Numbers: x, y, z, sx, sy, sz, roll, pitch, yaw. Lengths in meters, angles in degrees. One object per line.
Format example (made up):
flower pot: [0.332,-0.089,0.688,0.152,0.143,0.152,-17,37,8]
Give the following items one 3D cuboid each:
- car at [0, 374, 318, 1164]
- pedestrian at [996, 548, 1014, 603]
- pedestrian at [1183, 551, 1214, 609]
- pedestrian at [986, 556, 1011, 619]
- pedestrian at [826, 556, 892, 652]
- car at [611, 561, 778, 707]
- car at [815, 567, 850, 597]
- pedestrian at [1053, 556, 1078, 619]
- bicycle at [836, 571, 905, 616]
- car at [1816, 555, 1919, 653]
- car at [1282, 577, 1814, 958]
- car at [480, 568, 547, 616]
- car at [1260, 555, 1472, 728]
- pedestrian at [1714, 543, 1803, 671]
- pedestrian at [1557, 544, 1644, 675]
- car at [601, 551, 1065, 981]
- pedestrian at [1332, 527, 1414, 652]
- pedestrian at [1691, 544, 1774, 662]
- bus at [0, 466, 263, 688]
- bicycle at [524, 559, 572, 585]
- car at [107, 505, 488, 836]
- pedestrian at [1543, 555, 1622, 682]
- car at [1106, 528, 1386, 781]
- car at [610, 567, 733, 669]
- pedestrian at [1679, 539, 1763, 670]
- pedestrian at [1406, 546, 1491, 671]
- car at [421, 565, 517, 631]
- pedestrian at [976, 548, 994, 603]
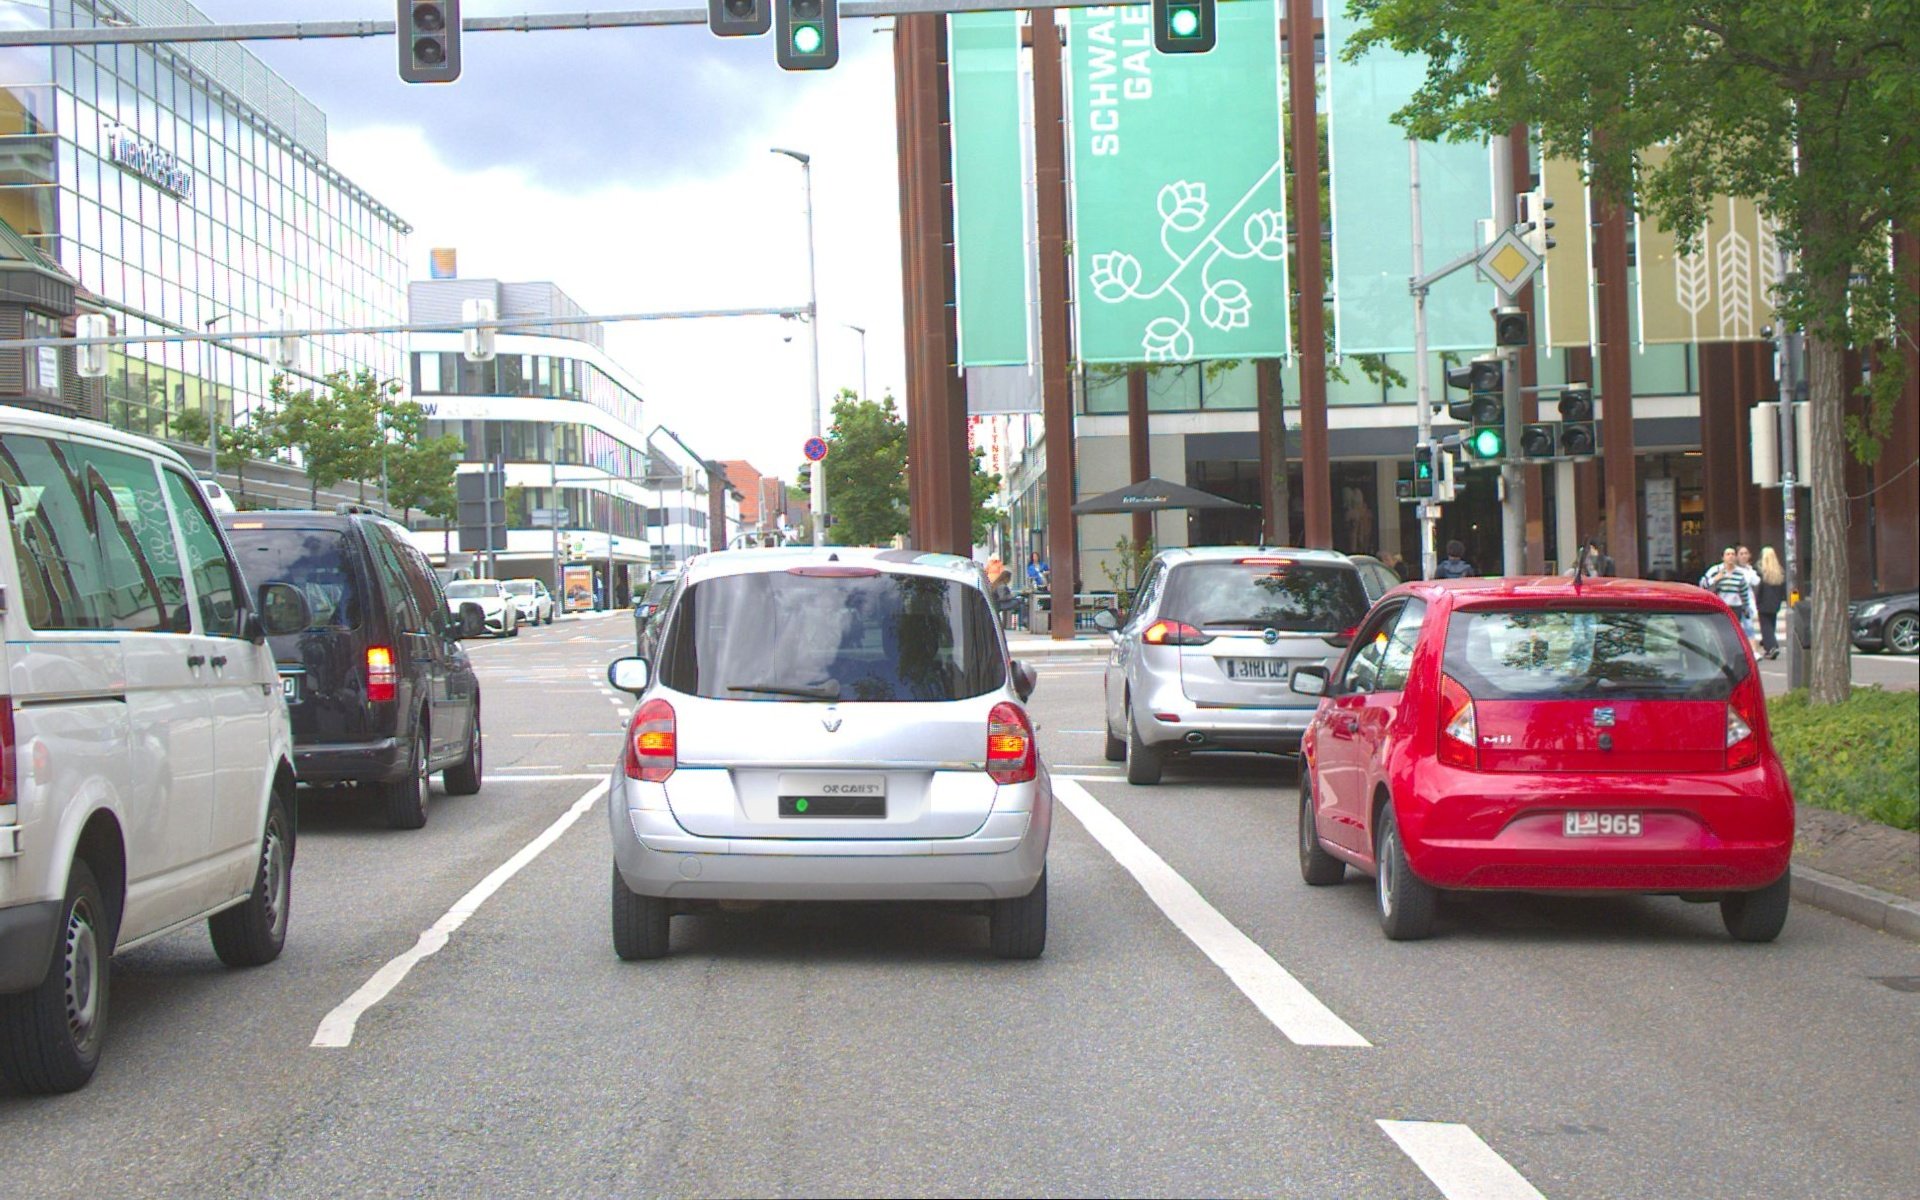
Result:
car: [-3.474,0.402,11.123,1.993,2.007,4.840,0,1,-1]
pedestrian: [1.263,-0.690,96.740,0.427,1.544,0.481,-2,1,-3]
pedestrian: [5.071,-0.427,73.070,0.515,1.204,0.796,-2,2,-3]
pedestrian: [0.760,-0.247,67.851,0.447,1.216,0.606,-2,1,1]
pedestrian: [-1.761,0.064,59.807,0.871,1.641,0.679,-1,1,33]
car: [-2.941,0.346,38.650,1.669,1.549,3.642,0,1,-1]
car: [-6.656,-0.929,179.771,1.660,1.460,4.000,-3,1,-1]
pedestrian: [2.088,-0.246,67.800,0.447,1.216,0.606,-2,1,3]
bicycle: [-2.103,-0.159,81.275,1.560,0.989,0.752,-2,1,2]
car: [14.996,0.025,50.823,4.172,1.399,1.801,-1,1,-4]
car: [2.441,0.637,15.099,1.626,1.443,3.642,0,1,-1]
car: [-14.510,-0.275,111.815,1.660,1.460,4.000,-3,1,-1]
car: [4.197,0.360,34.937,1.852,1.603,4.859,0,1,10]
pedestrian: [11.292,0.097,48.666,0.878,1.761,1.120,-2,1,-4]
pedestrian: [8.826,0.125,47.399,0.878,1.761,1.120,-2,1,-4]
car: [-0.503,0.578,14.235,1.669,1.549,3.642,0,1,-1]
pedestrian: [5.676,-0.147,47.295,0.878,1.675,1.120,-2,1,-4]
pedestrian: [10.603,0.038,47.229,0.821,1.589,1.039,-1,1,-4]
bus: [-15.076,-0.380,56.132,2.988,3.316,12.302,-4,1,9]
bicycle: [-16.832,-1.156,140.324,1.006,1.015,3.131,0,1,-25]
car: [-3.951,0.359,21.177,1.707,1.814,4.572,0,1,-3]
pedestrian: [8.124,0.234,44.913,0.741,1.620,0.954,-2,1,-5]
car: [2.012,0.337,25.267,1.739,1.695,4.381,0,1,1]
car: [-4.407,0.249,52.918,1.669,1.490,3.642,0,1,-1]
pedestrian: [9.672,0.053,43.696,0.741,1.620,0.954,-2,1,-5]
pedestrian: [6.724,0.107,47.367,0.878,1.675,1.120,-2,1,-4]
car: [-11.798,-0.065,82.826,1.744,1.454,4.235,-3,1,-2]
pedestrian: [0.701,-0.687,96.606,0.427,1.544,0.481,-2,1,-3]
